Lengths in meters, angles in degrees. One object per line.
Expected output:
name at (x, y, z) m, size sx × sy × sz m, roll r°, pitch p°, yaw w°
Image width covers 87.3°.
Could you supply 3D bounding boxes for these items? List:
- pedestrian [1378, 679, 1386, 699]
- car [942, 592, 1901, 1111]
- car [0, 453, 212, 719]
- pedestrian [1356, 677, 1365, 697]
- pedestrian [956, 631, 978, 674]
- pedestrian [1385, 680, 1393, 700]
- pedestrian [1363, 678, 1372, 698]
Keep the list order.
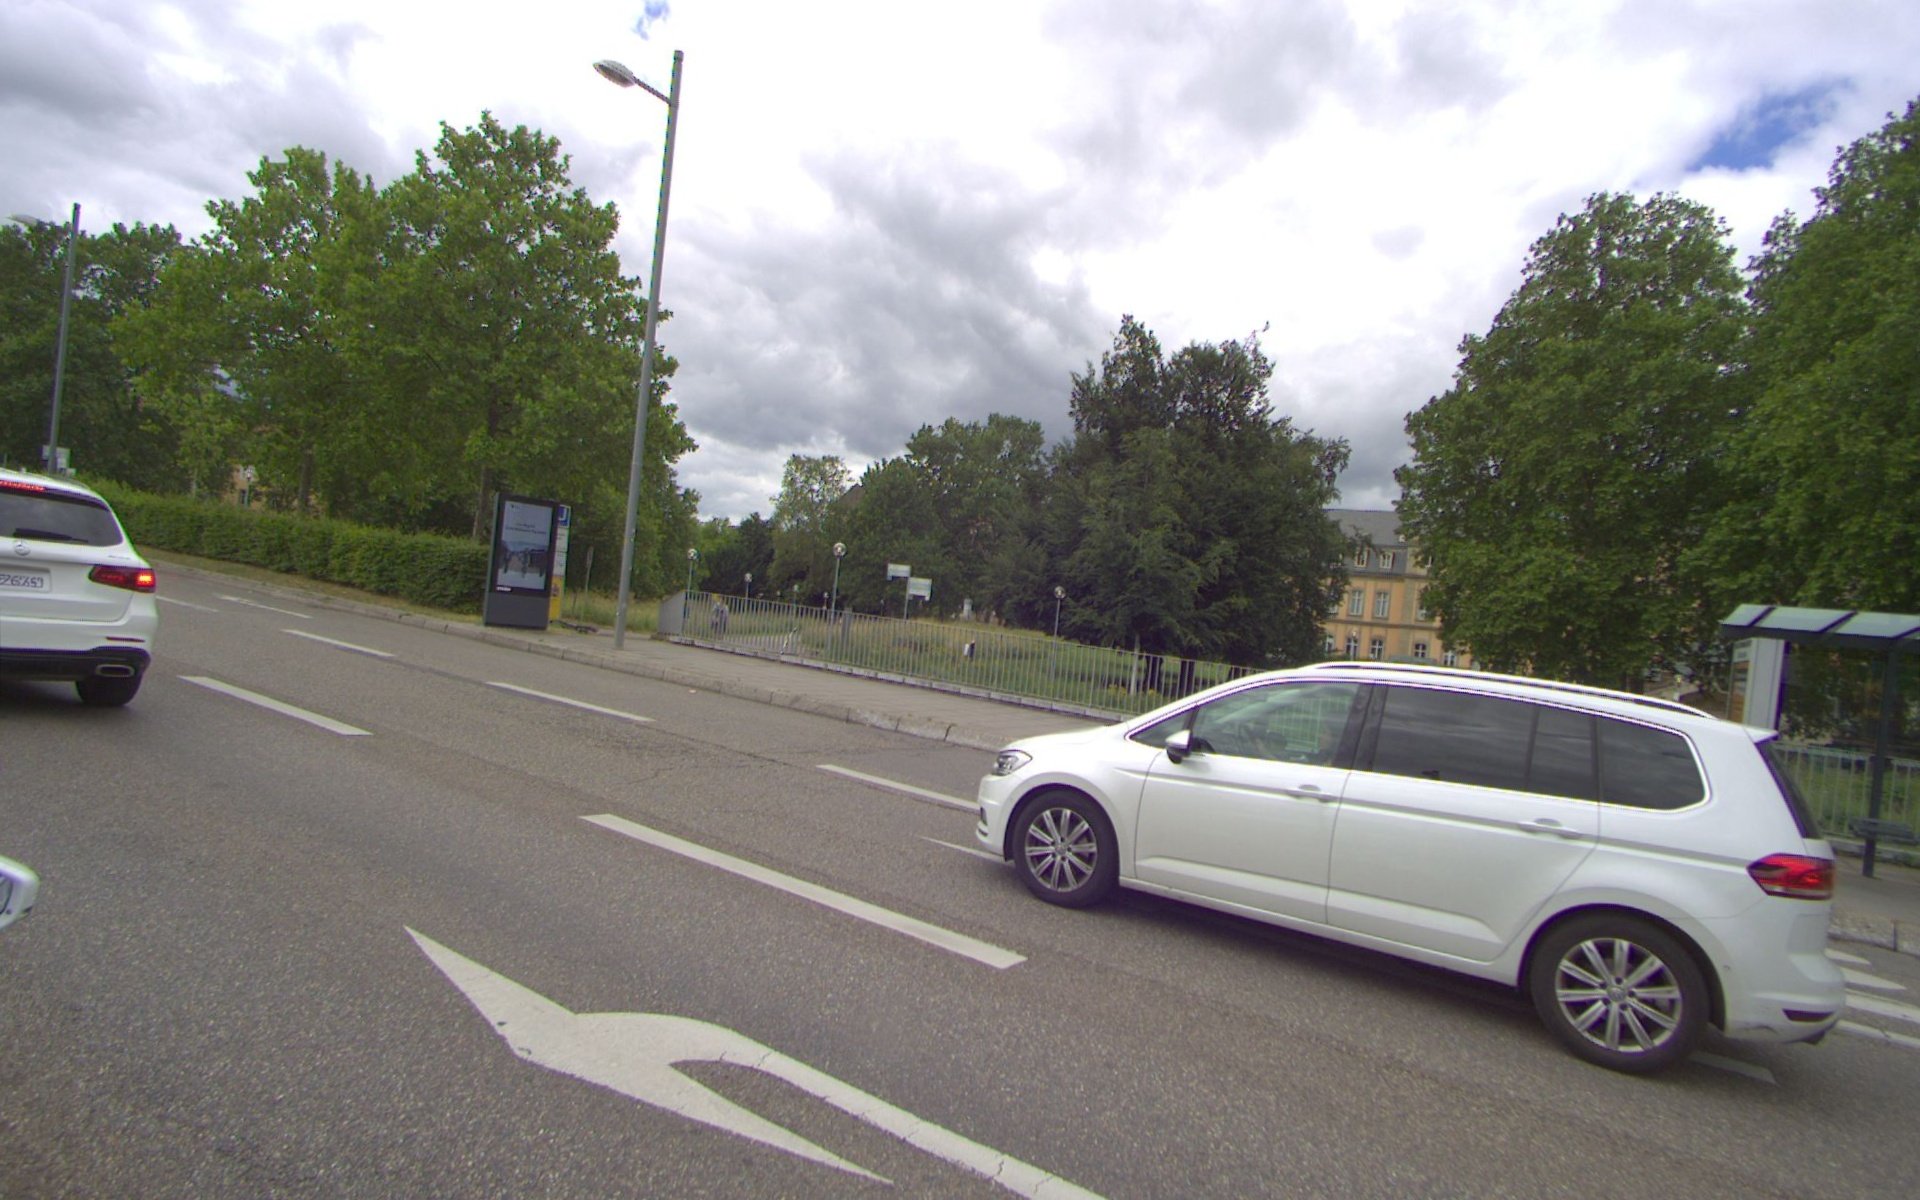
pedestrian at (37.456, 7.912, 89.280) m, size 0.460 × 1.756 × 0.405 m, roll 6°, pitch -2°, yaw 32°
car at (2.291, 1.066, 5.904) m, size 4.232 × 1.659 × 1.997 m, roll 7°, pitch -1°, yaw 31°
car at (-7.818, -0.309, 7.614) m, size 4.416 × 1.673 × 1.929 m, roll 7°, pitch -1°, yaw 33°
pedestrian at (35.961, 7.776, 90.262) m, size 0.461 × 1.756 × 0.405 m, roll 5°, pitch -2°, yaw 39°
pedestrian at (0.275, 2.103, 40.385) m, size 0.645 × 1.619 × 0.684 m, roll 7°, pitch -2°, yaw -1°
pedestrian at (38.261, 8.057, 89.693) m, size 0.460 × 1.725 × 0.405 m, roll 6°, pitch -2°, yaw 32°
pedestrian at (36.704, 7.893, 90.613) m, size 0.460 × 1.756 × 0.405 m, roll 6°, pitch -2°, yaw 32°
